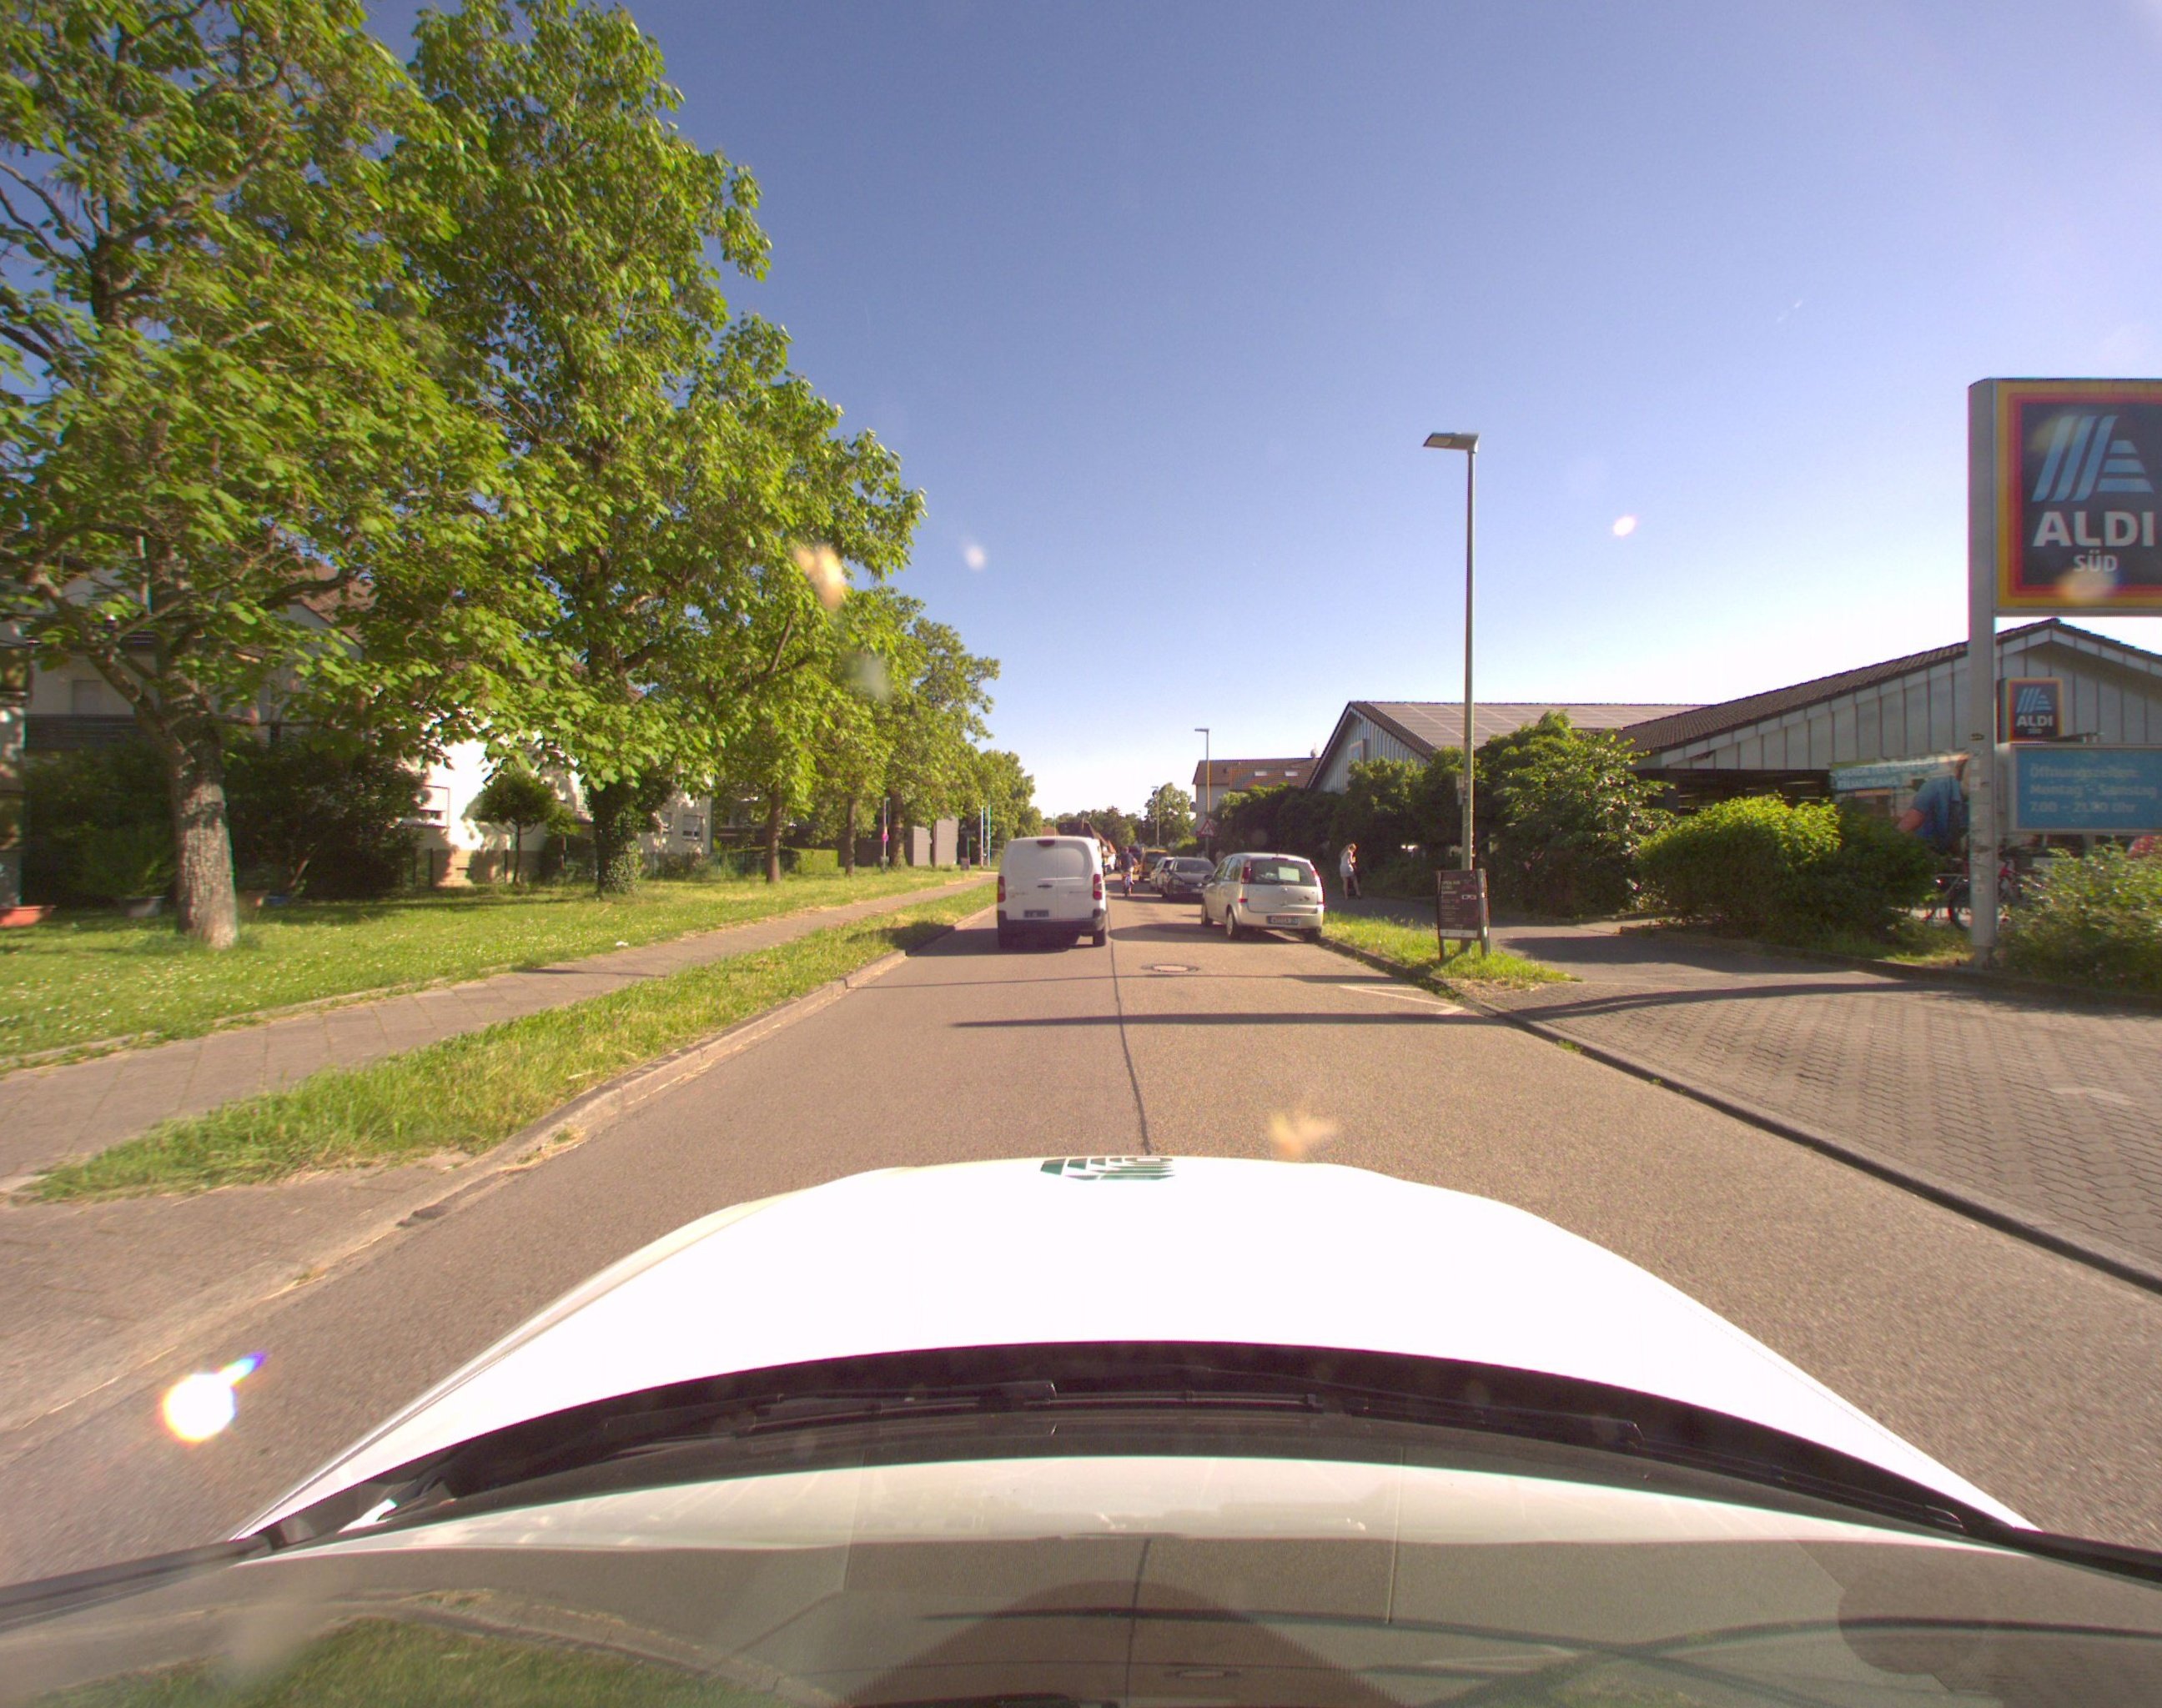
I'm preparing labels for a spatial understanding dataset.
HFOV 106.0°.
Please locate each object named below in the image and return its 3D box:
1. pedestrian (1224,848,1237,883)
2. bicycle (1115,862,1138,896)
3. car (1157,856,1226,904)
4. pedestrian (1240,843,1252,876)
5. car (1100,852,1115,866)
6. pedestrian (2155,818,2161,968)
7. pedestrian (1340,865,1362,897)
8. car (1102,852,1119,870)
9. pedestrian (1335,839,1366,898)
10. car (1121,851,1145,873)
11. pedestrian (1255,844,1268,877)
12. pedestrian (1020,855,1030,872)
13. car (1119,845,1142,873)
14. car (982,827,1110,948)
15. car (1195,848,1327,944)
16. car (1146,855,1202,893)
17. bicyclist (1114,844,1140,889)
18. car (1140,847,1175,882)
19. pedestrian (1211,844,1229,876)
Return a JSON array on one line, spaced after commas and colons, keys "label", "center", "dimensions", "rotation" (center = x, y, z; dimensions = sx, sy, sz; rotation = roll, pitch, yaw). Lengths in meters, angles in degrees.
[{"label": "pedestrian", "center": [7.089, 0.529, 38.712], "dimensions": [0.564, 1.637, 0.547], "rotation": [0, 0, 6]}, {"label": "bicycle", "center": [1.661, 0.861, 29.306], "dimensions": [0.783, 1.138, 2.282], "rotation": [0, 0, 4]}, {"label": "car", "center": [3.599, 0.798, 27.163], "dimensions": [1.801, 1.443, 4.365], "rotation": [1, 0, 1]}, {"label": "pedestrian", "center": [8.226, 0.249, 40.650], "dimensions": [0.564, 1.637, 0.547], "rotation": [0, 0, 6]}, {"label": "car", "center": [3.720, 0.731, 113.723], "dimensions": [1.796, 1.842, 4.004], "rotation": [2, -1, 4]}, {"label": "pedestrian", "center": [11.984, 0.423, 8.471], "dimensions": [0.685, 1.631, 0.781], "rotation": [0, 0, 22]}, {"label": "pedestrian", "center": [8.561, 0.854, 25.853], "dimensions": [0.529, 0.980, 0.812], "rotation": [0, 0, 9]}, {"label": "car", "center": [3.569, 0.897, 98.056], "dimensions": [1.798, 2.069, 3.999], "rotation": [2, -1, 0]}, {"label": "pedestrian", "center": [8.281, 0.423, 25.030], "dimensions": [0.794, 1.782, 0.811], "rotation": [0, 0, 9]}, {"label": "car", "center": [4.588, 0.729, 71.725], "dimensions": [1.798, 1.785, 3.999], "rotation": [2, -1, 0]}, {"label": "pedestrian", "center": [8.990, 0.334, 40.490], "dimensions": [0.564, 1.637, 0.547], "rotation": [0, 0, 6]}, {"label": "pedestrian", "center": [-4.964, 0.852, 72.356], "dimensions": [0.505, 1.446, 0.643], "rotation": [3, 0, 34]}, {"label": "car", "center": [4.765, 0.522, 78.867], "dimensions": [1.860, 2.562, 4.766], "rotation": [2, -1, 0]}, {"label": "car", "center": [-0.472, 0.507, 14.847], "dimensions": [1.986, 1.882, 4.291], "rotation": [0, 0, 2]}, {"label": "car", "center": [3.458, 0.768, 16.346], "dimensions": [1.674, 1.599, 4.027], "rotation": [3, -1, 0]}, {"label": "car", "center": [3.758, 0.773, 33.468], "dimensions": [1.820, 1.452, 3.999], "rotation": [1, 0, 0]}, {"label": "bicyclist", "center": [1.664, 0.438, 29.392], "dimensions": [0.902, 1.584, 0.967], "rotation": [1, -1, 3]}, {"label": "car", "center": [4.180, 0.570, 44.906], "dimensions": [1.717, 1.837, 4.002], "rotation": [1, 0, 2]}, {"label": "pedestrian", "center": [8.141, 0.358, 47.681], "dimensions": [0.793, 1.861, 0.872], "rotation": [1, -1, -6]}]
